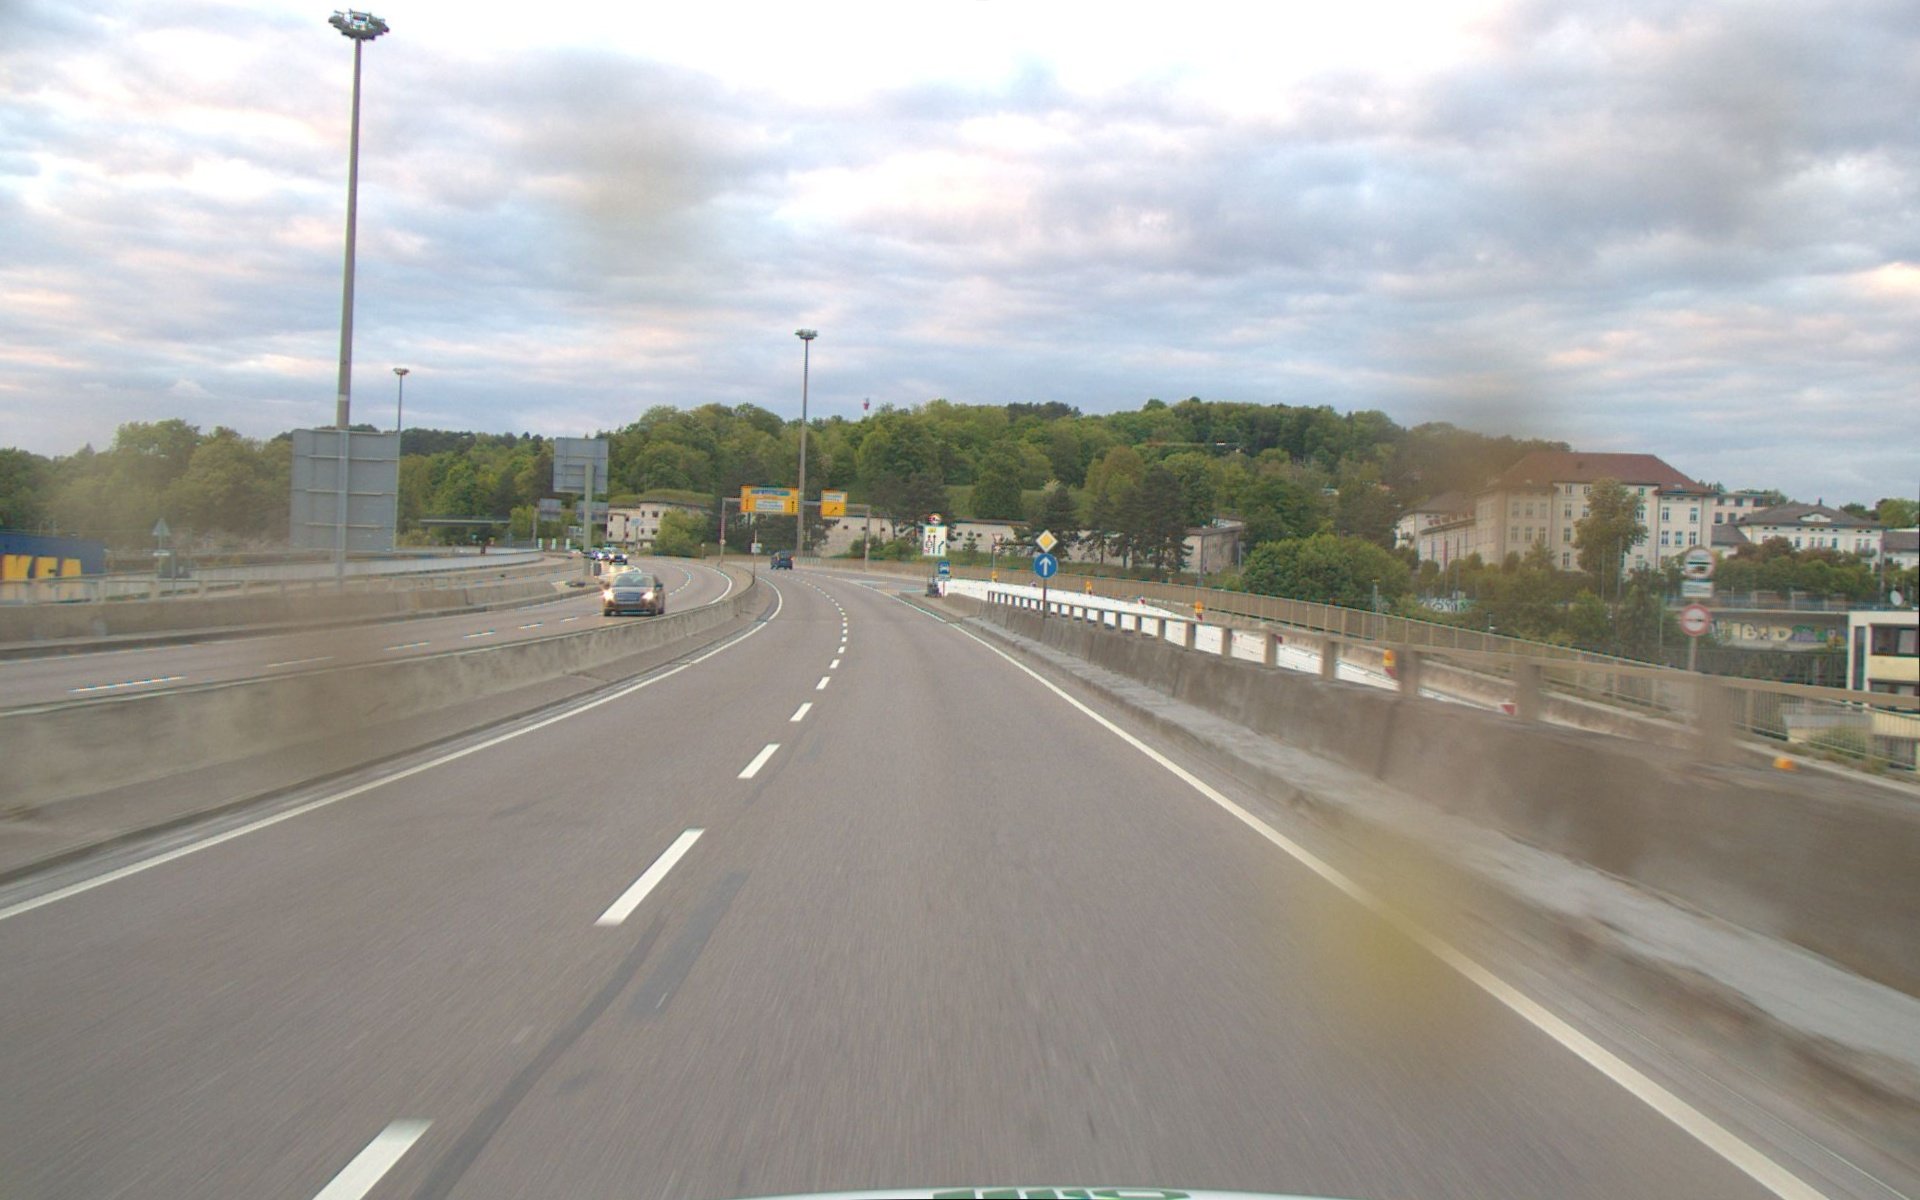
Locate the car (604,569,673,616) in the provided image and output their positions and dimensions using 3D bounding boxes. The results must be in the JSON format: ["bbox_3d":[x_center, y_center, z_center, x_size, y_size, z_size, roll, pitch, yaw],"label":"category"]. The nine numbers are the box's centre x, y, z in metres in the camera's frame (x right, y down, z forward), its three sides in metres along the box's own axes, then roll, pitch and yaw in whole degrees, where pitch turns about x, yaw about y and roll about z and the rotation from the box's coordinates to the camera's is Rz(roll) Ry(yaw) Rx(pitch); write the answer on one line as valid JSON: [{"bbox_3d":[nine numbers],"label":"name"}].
[{"bbox_3d":[-10.808,-0.245,55.877,1.793,1.506,4.283,1,0,-5],"label":"car"}]

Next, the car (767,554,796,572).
[{"bbox_3d":[-19.143,-4.020,177.449,2.268,1.794,4.242,3,1,-17],"label":"car"}]

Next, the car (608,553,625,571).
[{"bbox_3d":[-35.768,-3.924,172.374,1.608,1.747,3.989,-3,1,-11],"label":"car"}]

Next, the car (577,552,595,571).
[{"bbox_3d":[-47.696,-4.887,210.898,1.960,2.047,3.989,7,1,-12],"label":"car"}]

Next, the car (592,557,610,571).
[{"bbox_3d":[-41.833,-4.183,192.639,1.766,1.512,3.826,1,0,-15],"label":"car"}]
